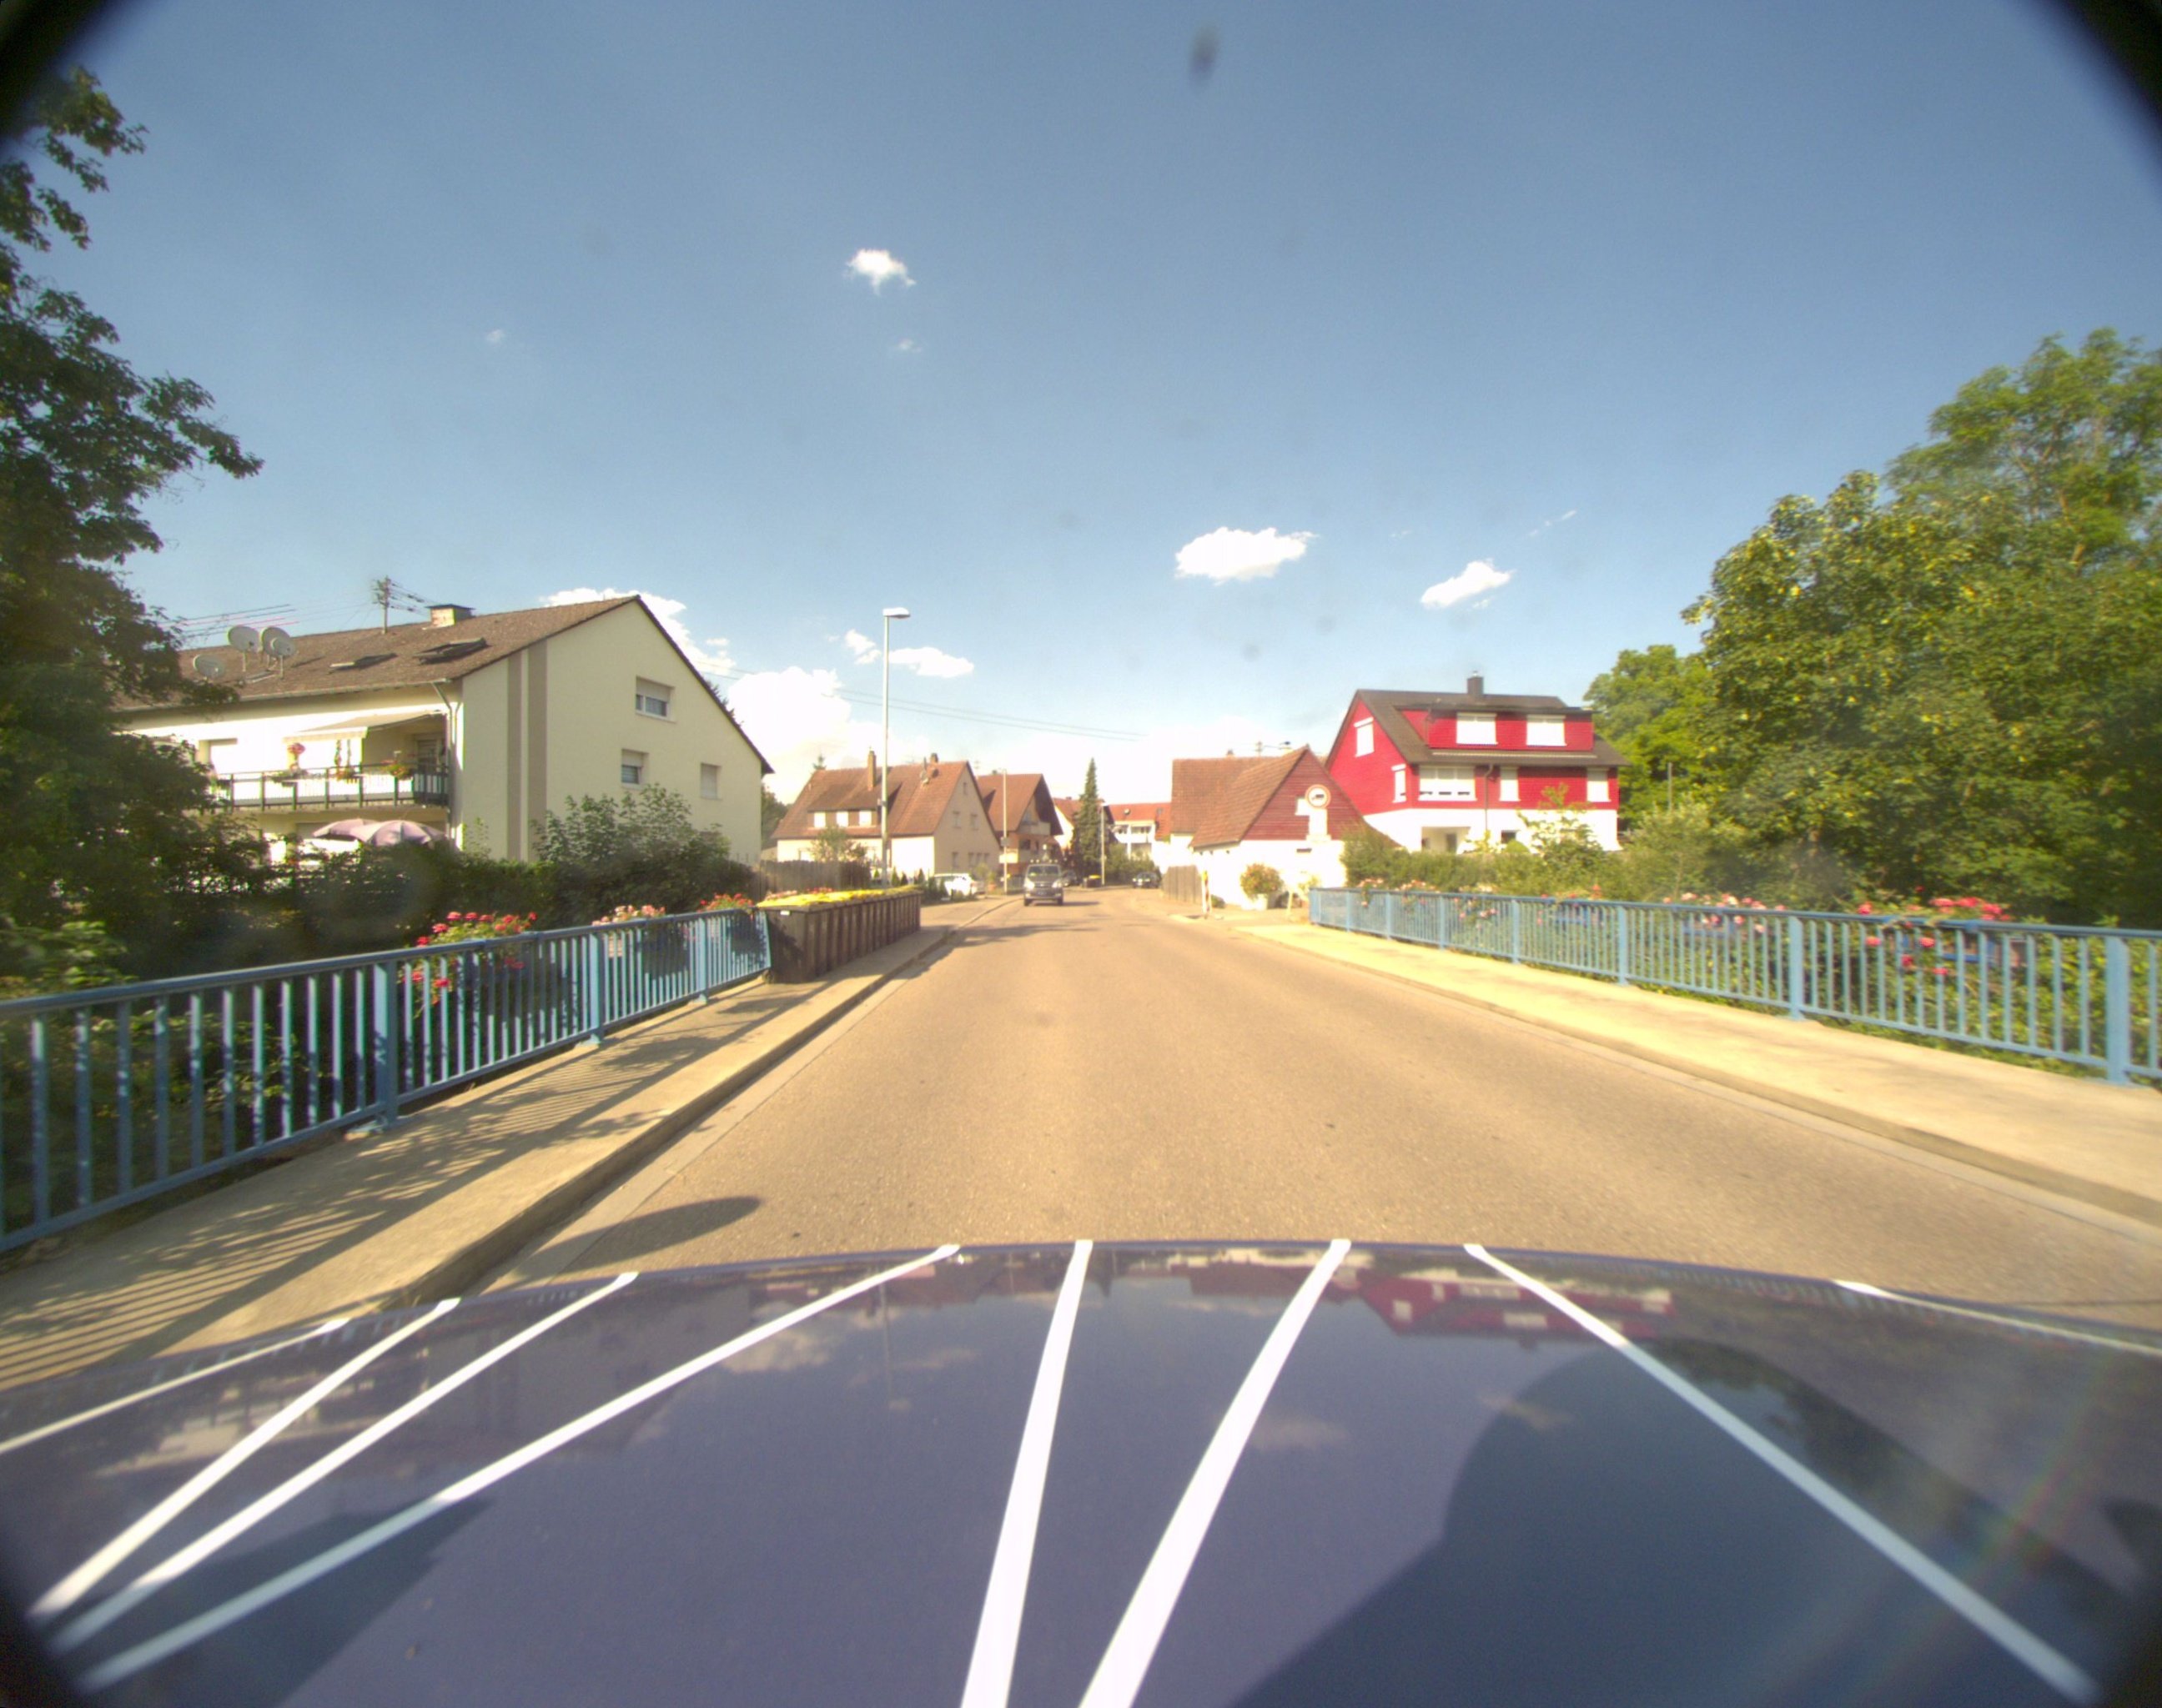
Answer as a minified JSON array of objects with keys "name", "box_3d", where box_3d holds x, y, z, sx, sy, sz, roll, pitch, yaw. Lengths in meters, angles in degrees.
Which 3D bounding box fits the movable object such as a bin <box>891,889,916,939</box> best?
[{"name":"movable object such as a bin","box_3d":[-4.123,1.383,17.710,0.480,1.136,0.542,0,-1,-3]}]

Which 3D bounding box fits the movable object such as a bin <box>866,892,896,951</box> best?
[{"name":"movable object such as a bin","box_3d":[-4.003,1.345,15.232,0.480,1.136,0.538,0,-1,-3]}]

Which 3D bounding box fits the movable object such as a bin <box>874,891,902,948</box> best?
[{"name":"movable object such as a bin","box_3d":[-4.023,1.355,15.869,0.480,1.136,0.538,0,-1,-3]}]

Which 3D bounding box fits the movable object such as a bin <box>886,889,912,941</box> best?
[{"name":"movable object such as a bin","box_3d":[-4.098,1.375,17.143,0.480,1.136,0.538,0,-1,-3]}]

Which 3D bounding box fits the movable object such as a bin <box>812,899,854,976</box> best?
[{"name":"movable object such as a bin","box_3d":[-3.805,1.264,11.671,0.480,1.136,0.538,0,-1,-3]}]

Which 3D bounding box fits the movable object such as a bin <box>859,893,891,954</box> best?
[{"name":"movable object such as a bin","box_3d":[-3.970,1.337,14.657,0.480,1.136,0.538,0,-1,-3]}]

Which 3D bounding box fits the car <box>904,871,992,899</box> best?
[{"name":"car","box_3d":[-7.322,1.713,41.912,4.469,1.449,1.733,-1,0,17]}]

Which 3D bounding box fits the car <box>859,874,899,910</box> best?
[{"name":"car","box_3d":[-9.908,1.826,37.224,1.700,1.510,4.271,-3,0,-16]}]

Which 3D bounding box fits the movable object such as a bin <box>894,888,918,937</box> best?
[{"name":"movable object such as a bin","box_3d":[-4.200,1.392,18.273,0.480,1.136,0.538,0,-1,-3]}]

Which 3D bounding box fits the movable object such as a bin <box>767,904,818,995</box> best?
[{"name":"movable object such as a bin","box_3d":[-3.778,1.233,9.959,0.480,1.136,0.538,0,-1,-3]}]

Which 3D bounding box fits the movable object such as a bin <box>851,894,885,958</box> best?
[{"name":"movable object such as a bin","box_3d":[-3.941,1.328,14.079,0.480,1.136,0.564,0,-1,-3]}]

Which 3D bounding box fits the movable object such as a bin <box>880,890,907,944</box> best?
[{"name":"movable object such as a bin","box_3d":[-4.067,1.365,16.475,0.480,1.136,0.538,0,-1,-3]}]

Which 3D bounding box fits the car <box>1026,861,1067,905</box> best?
[{"name":"car","box_3d":[-1.760,1.388,37.192,1.821,1.988,4.820,0,-2,-5]}]

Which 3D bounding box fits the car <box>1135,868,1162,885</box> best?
[{"name":"car","box_3d":[6.906,2.242,77.638,1.970,1.646,4.006,1,0,17]}]

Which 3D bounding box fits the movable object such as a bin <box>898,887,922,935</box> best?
[{"name":"movable object such as a bin","box_3d":[-4.229,1.400,18.810,0.480,1.136,0.538,0,-1,-3]}]

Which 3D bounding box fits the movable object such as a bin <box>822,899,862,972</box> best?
[{"name":"movable object such as a bin","box_3d":[-3.844,1.300,12.242,0.480,1.136,0.538,0,-1,-3]}]

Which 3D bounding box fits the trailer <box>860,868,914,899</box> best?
[{"name":"trailer","box_3d":[-11.289,1.689,44.444,1.522,1.741,3.223,-1,-2,19]}]

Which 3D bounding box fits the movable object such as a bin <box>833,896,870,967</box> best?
[{"name":"movable object such as a bin","box_3d":[-3.863,1.294,12.820,0.480,1.136,0.538,0,-1,-3]}]

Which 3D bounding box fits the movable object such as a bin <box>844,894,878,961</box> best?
[{"name":"movable object such as a bin","box_3d":[-3.897,1.292,13.473,0.480,1.136,0.538,0,-1,-3]}]

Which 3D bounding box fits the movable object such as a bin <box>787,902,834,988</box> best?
[{"name":"movable object such as a bin","box_3d":[-3.737,1.247,10.523,0.480,1.136,0.538,0,-1,-3]}]

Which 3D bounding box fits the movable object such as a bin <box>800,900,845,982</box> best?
[{"name":"movable object such as a bin","box_3d":[-3.764,1.256,11.090,0.480,1.136,0.538,0,-1,-3]}]
